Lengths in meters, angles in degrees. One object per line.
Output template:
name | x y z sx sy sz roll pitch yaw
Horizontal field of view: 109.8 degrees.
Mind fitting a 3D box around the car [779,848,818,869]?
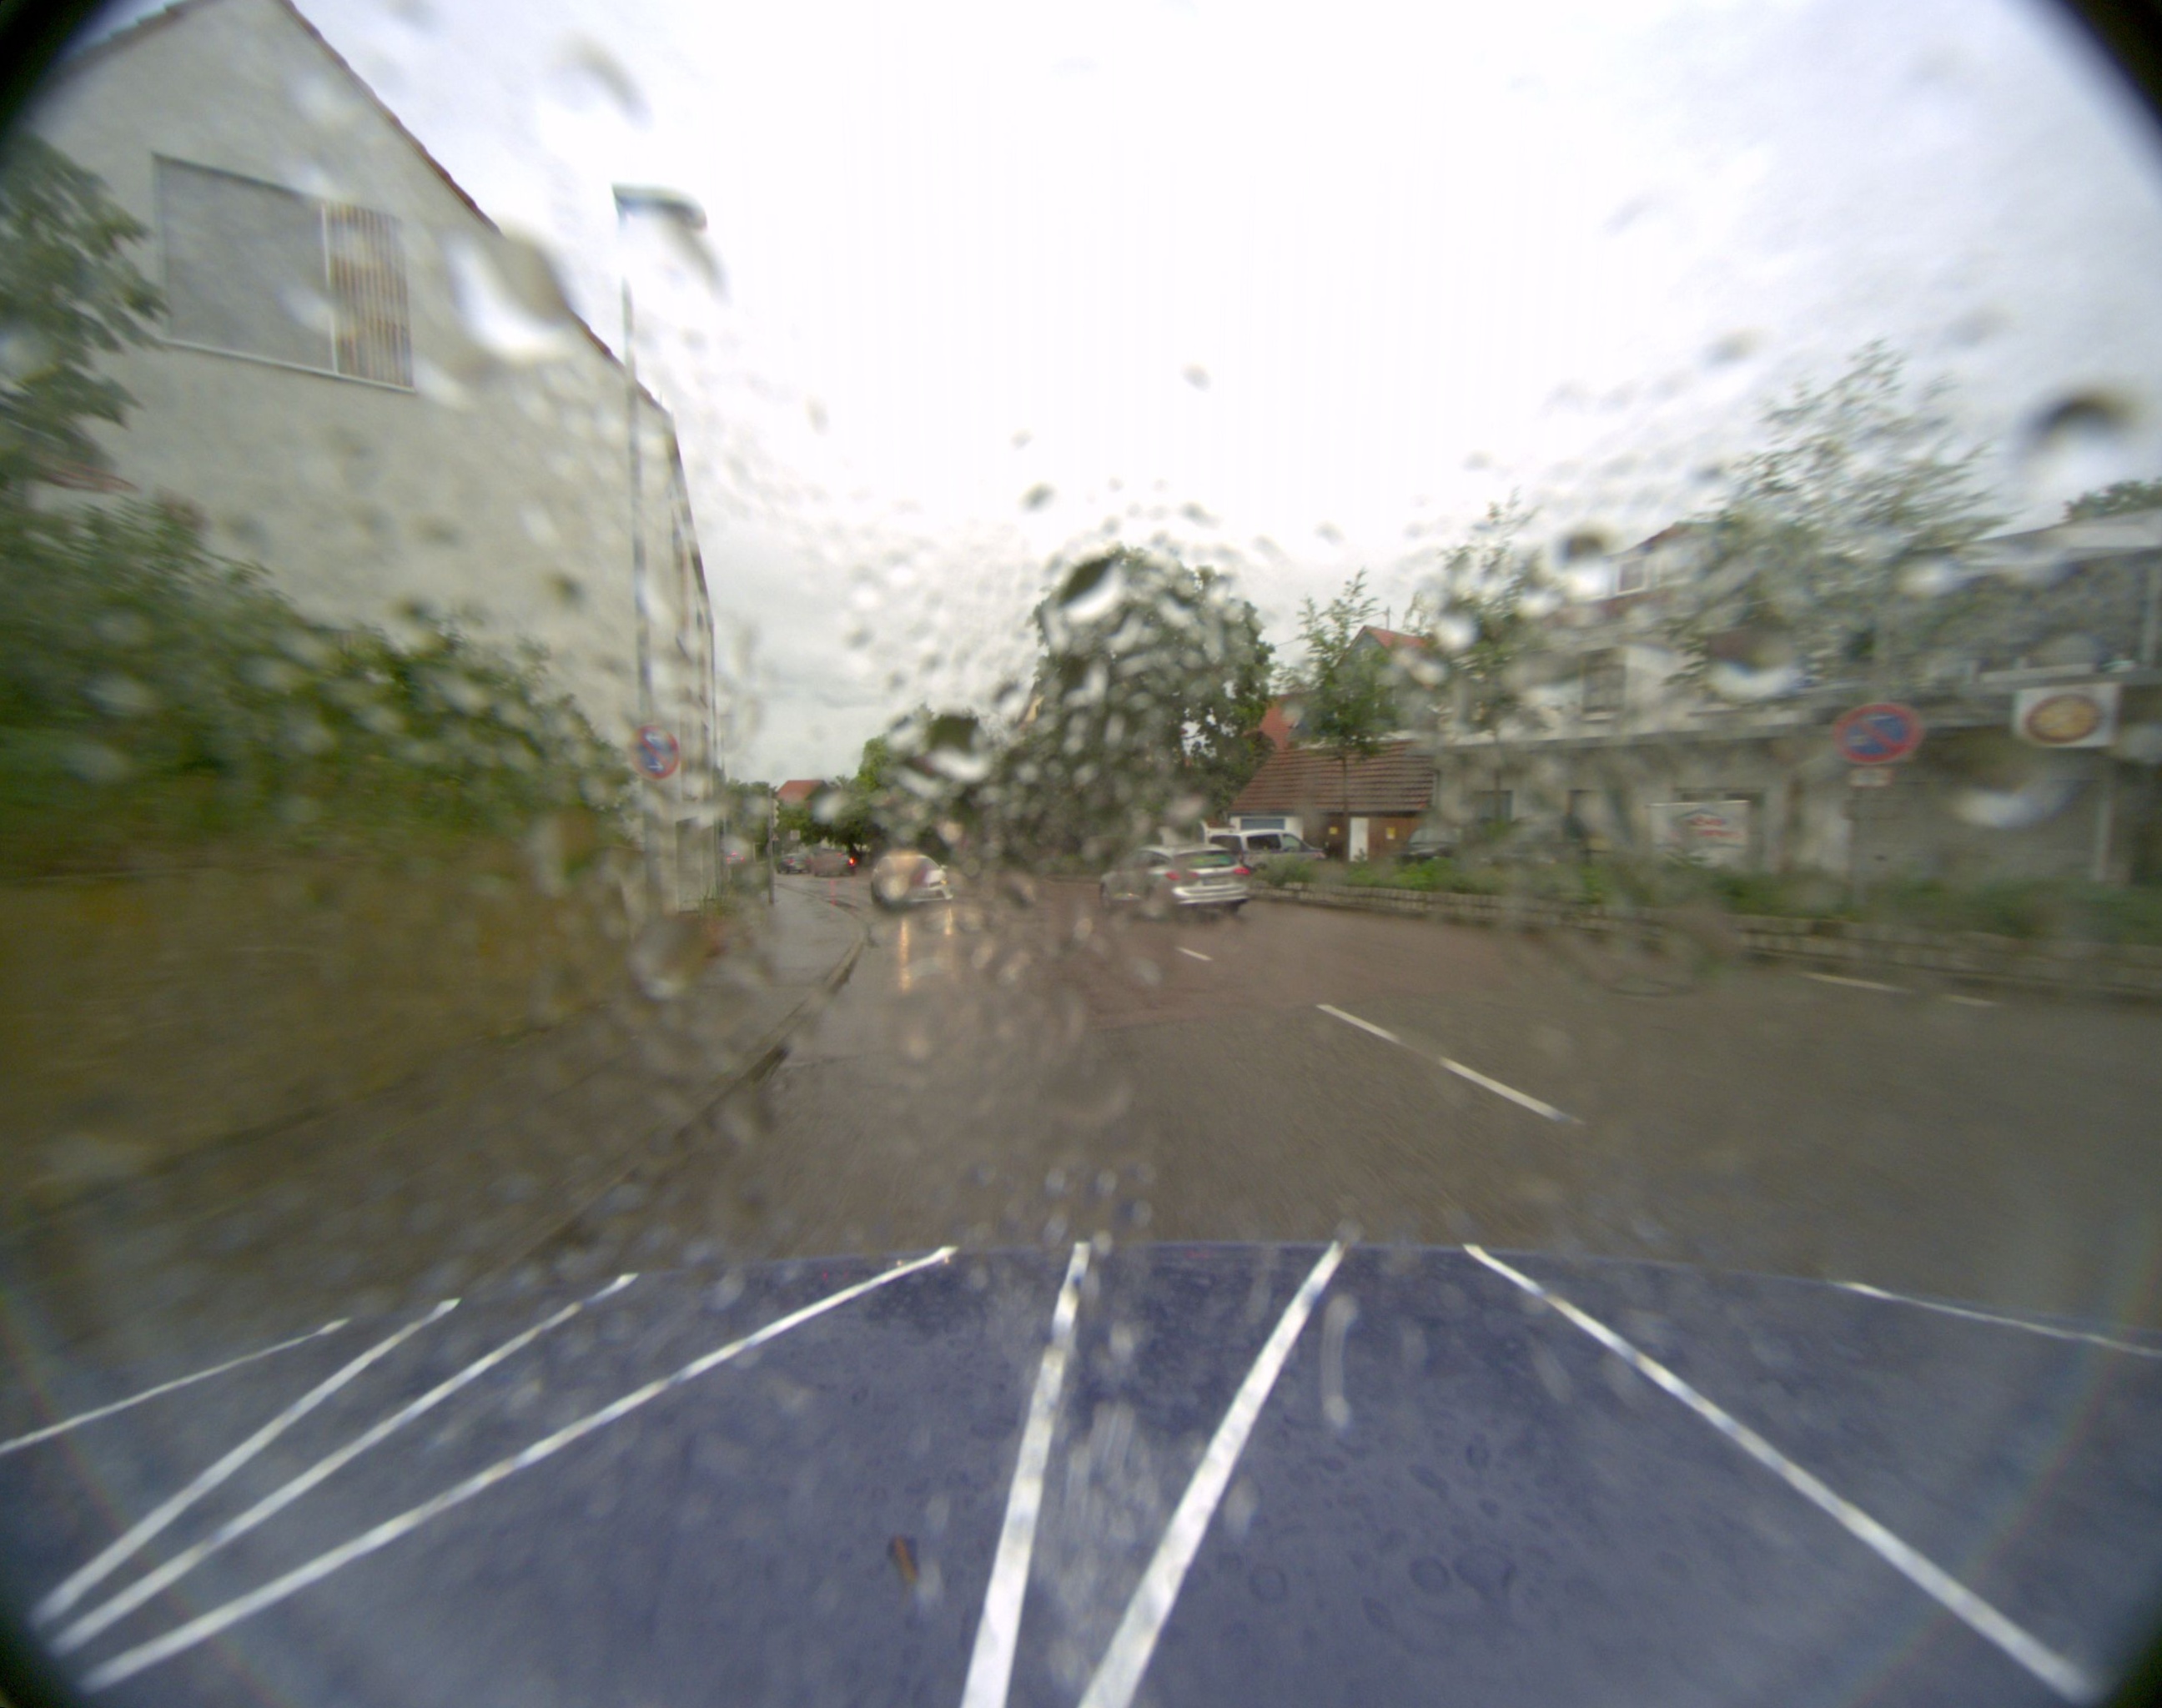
car | -20.221 0.310 54.308 1.827 1.414 3.890 -3 2 -31

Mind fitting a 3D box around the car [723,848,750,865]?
car | -34.689 0.246 76.457 1.813 1.545 3.820 -4 2 -33

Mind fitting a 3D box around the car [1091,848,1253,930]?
car | 1.721 0.629 15.933 1.601 1.405 4.229 -3 1 -20

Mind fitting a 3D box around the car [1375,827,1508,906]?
car | 9.829 0.274 20.576 4.097 1.764 1.794 -5 3 -42

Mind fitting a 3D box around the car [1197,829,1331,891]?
car | 6.172 0.166 25.579 4.125 1.790 1.995 -4 2 -31

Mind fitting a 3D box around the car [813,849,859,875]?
car | -14.696 0.470 45.432 1.685 1.397 3.668 -4 2 -33

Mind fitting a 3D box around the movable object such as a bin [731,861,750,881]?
movable object such as a bin | -18.837 0.918 42.066 0.800 1.064 0.759 -4 2 -31

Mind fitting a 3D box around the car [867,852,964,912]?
car | -4.954 0.745 22.365 1.862 1.427 4.008 -4 3 -25

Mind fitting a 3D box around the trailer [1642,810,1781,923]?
trailer | 13.262 0.197 16.225 1.948 2.090 3.968 0 2 35

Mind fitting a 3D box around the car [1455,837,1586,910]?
car | 10.656 0.420 18.340 3.351 1.477 1.834 -4 2 -44
